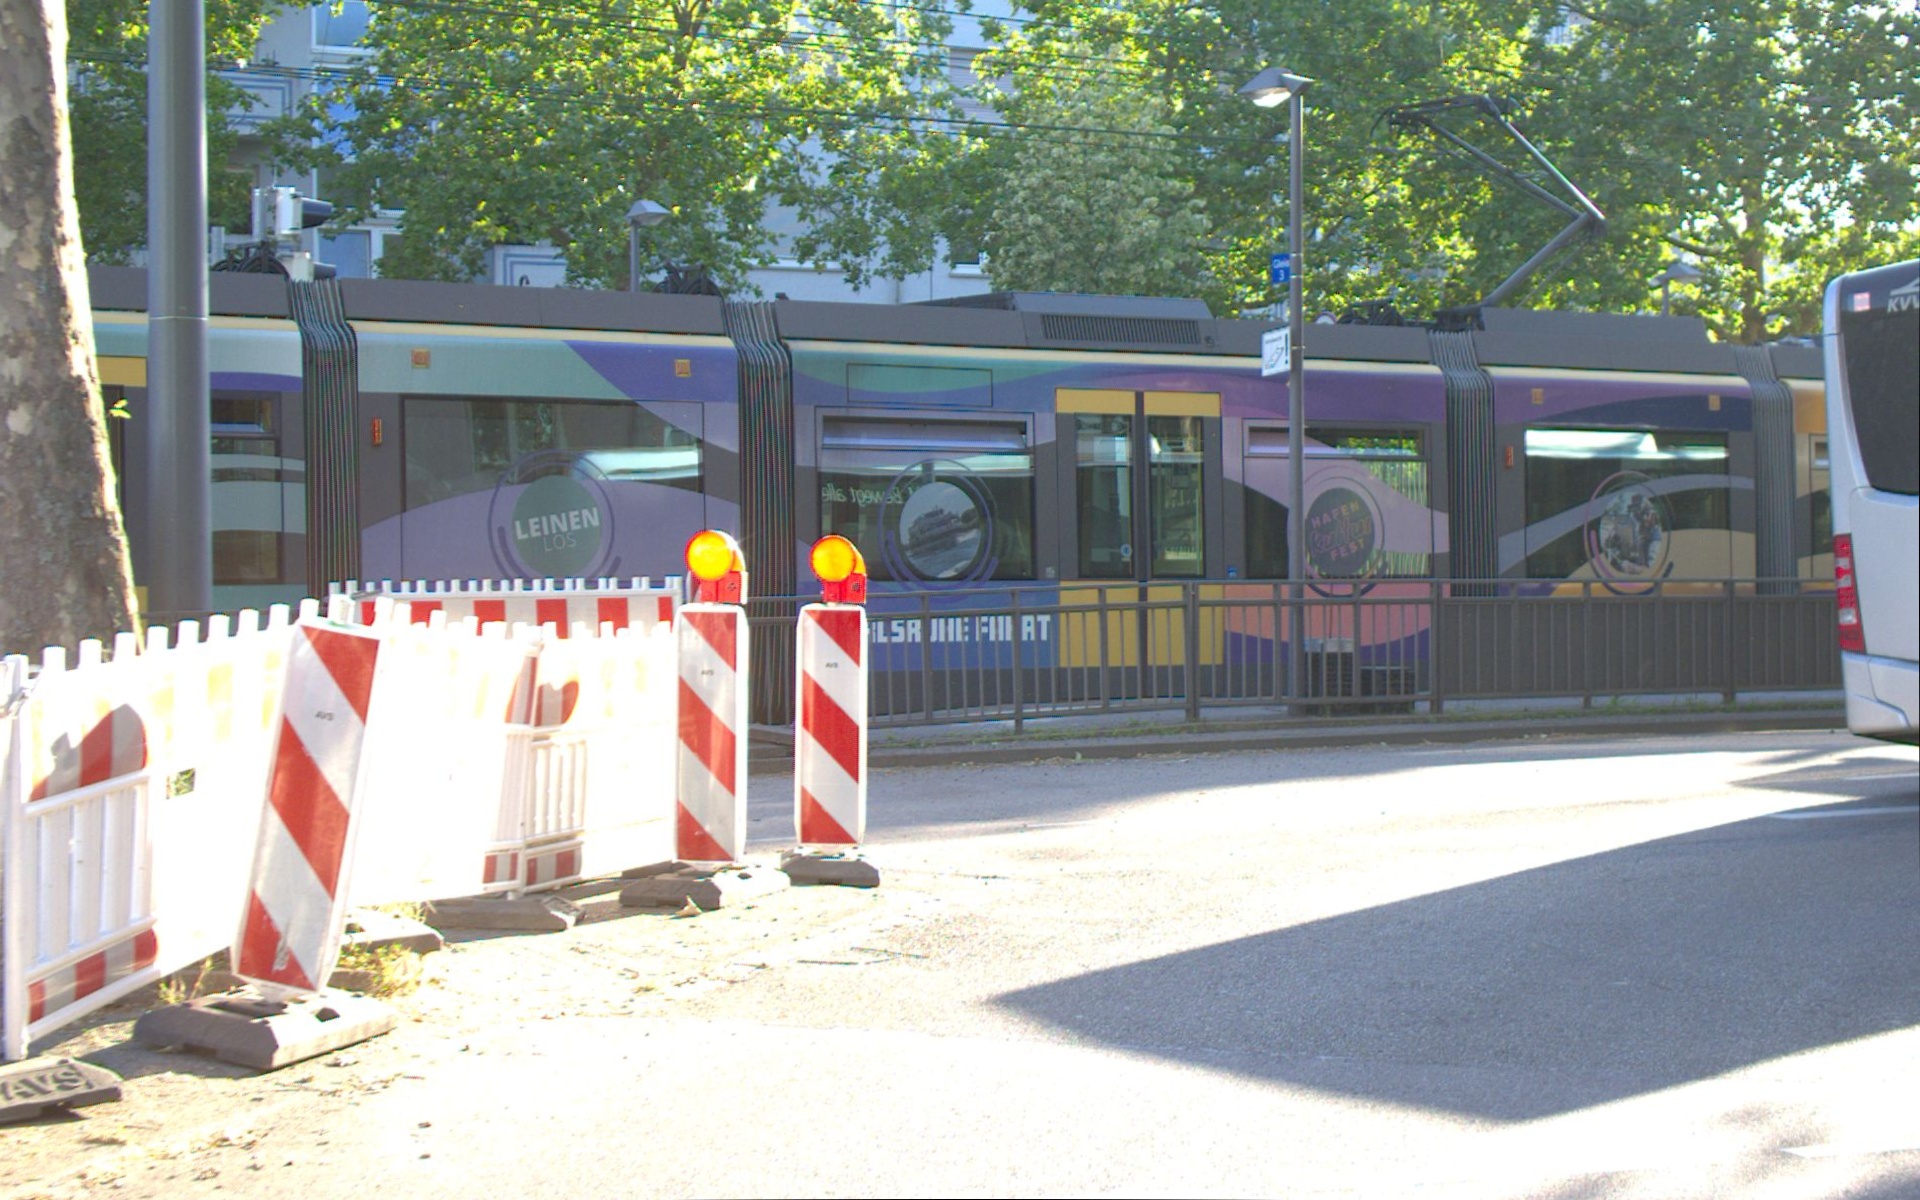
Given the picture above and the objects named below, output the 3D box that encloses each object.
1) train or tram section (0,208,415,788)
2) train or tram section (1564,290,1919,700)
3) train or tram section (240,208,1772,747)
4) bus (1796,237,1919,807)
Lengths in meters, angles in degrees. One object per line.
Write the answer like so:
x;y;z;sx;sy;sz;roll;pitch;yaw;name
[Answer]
-9.735;-0.595;19.623;13.356;3.521;2.858;-1;1;-38;train or tram section
11.932;-0.958;33.998;13.289;3.507;2.649;-1;1;-31;train or tram section
0.884;-0.863;27.182;12.743;3.537;2.737;-1;1;-33;train or tram section
9.400;-0.484;22.339;2.740;3.128;10.676;2;2;43;bus
